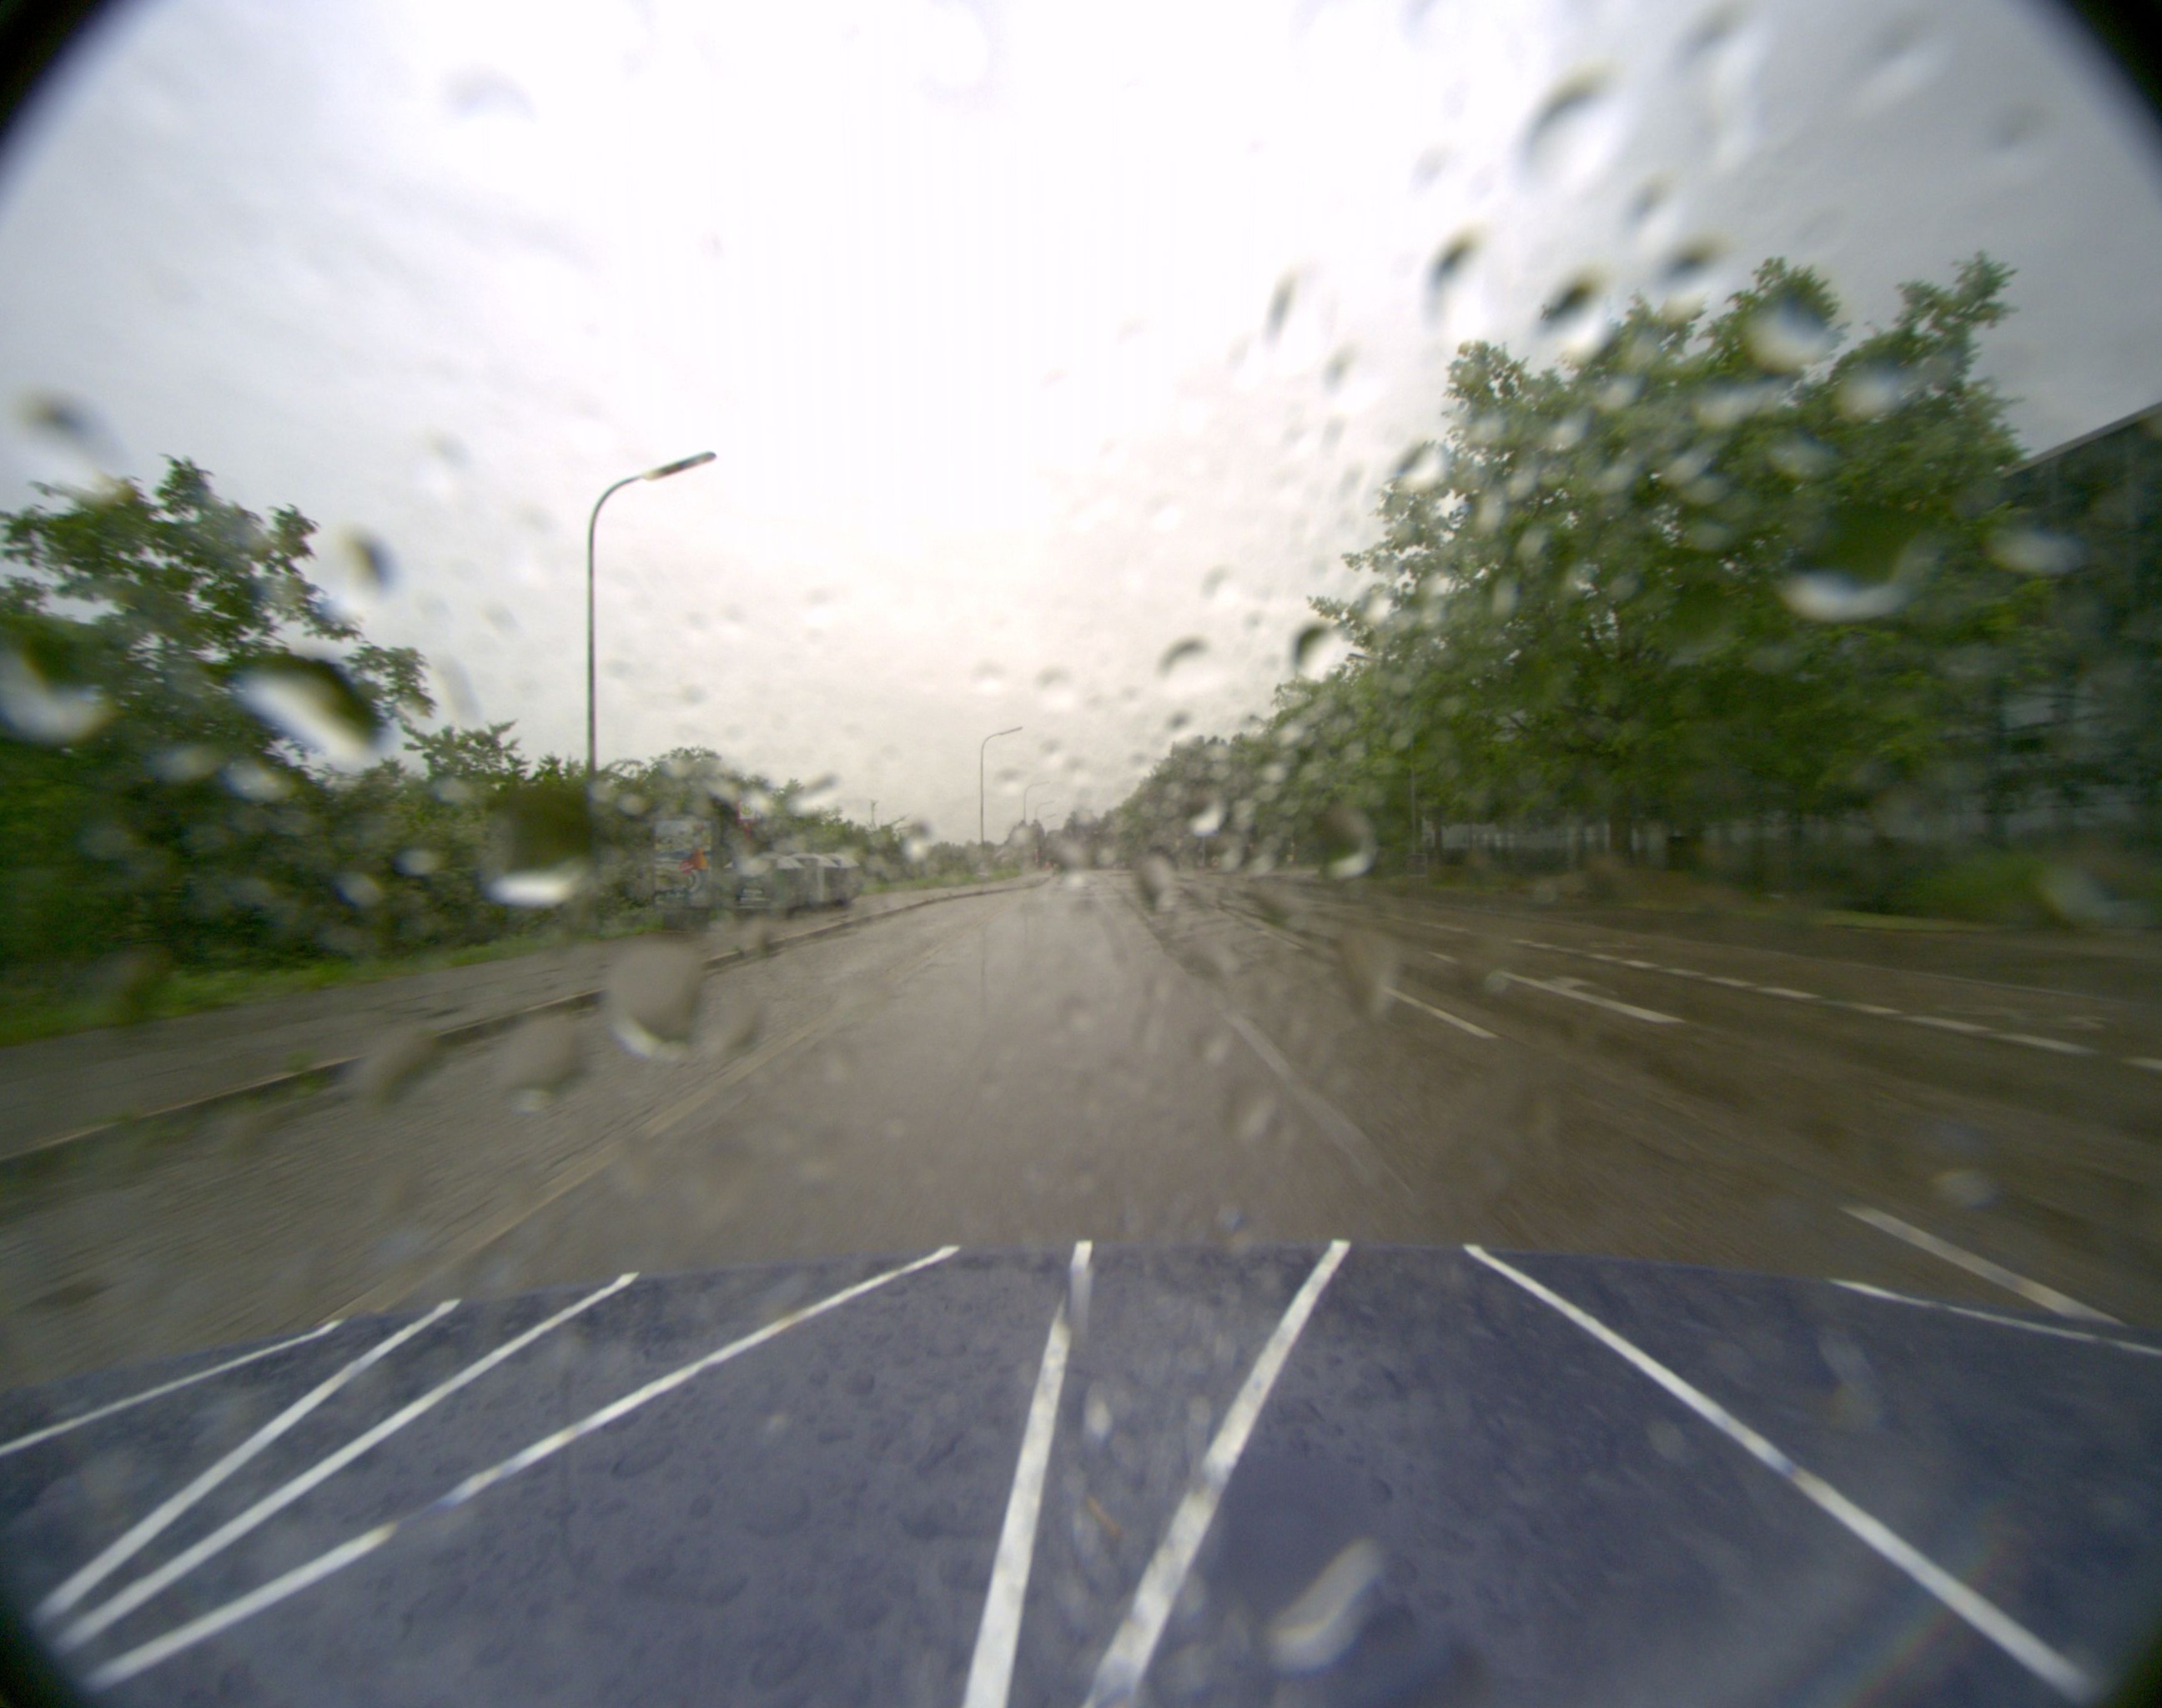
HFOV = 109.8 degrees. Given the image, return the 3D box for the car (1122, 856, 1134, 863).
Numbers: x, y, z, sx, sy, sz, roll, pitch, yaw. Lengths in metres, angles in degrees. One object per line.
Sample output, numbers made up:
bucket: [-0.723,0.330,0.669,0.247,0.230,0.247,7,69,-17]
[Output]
car: [8.855,1.073,143.637,1.691,1.410,4.740,0,-1,-4]

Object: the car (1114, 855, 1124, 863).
car: [7.737,1.016,153.279,1.438,1.528,2.817,0,-1,-11]

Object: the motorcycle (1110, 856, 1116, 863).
motorcycle: [6.674,1.189,160.075,0.840,1.333,2.497,0,-1,-8]
